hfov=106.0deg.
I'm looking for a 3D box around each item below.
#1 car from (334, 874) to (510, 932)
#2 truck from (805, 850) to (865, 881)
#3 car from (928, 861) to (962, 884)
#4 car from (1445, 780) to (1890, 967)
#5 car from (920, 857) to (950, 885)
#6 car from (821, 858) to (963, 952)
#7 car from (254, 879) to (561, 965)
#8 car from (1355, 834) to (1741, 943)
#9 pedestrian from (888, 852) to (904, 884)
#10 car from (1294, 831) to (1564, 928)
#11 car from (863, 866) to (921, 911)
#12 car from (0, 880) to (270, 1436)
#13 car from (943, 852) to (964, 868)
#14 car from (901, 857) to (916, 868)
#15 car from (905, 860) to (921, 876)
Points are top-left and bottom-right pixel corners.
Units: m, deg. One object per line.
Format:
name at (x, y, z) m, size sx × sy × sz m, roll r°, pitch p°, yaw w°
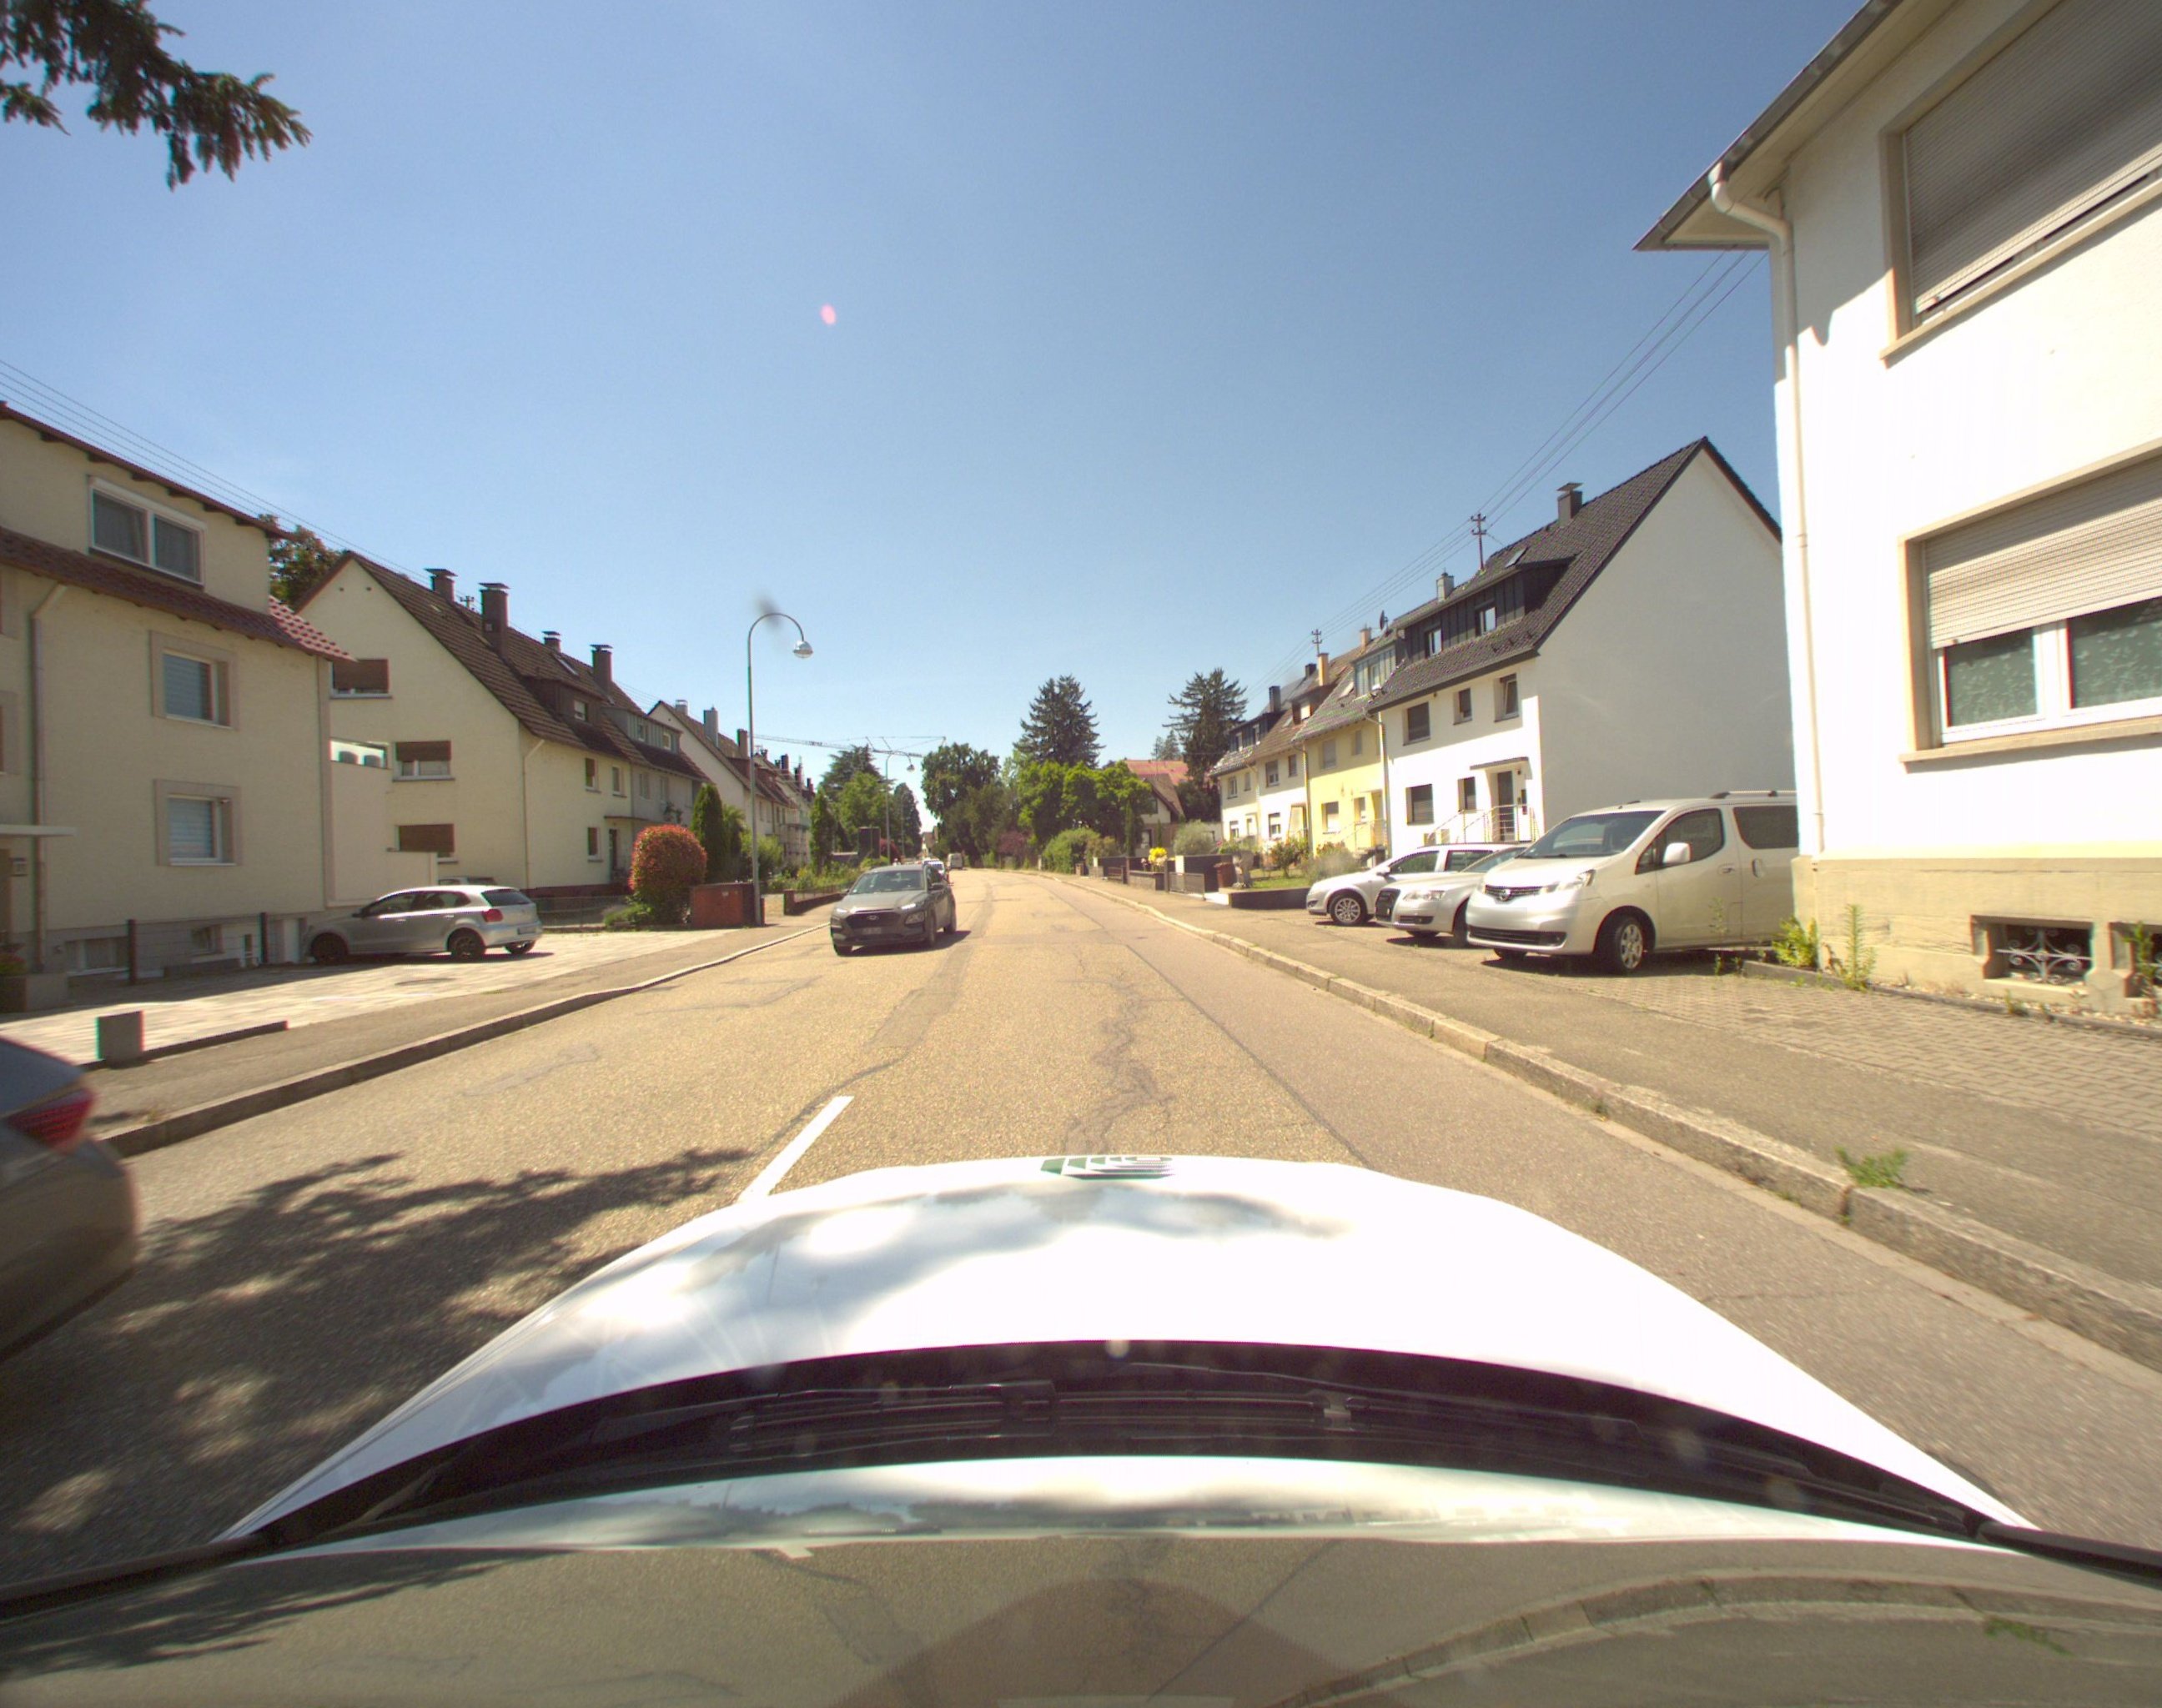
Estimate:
car at (-19.850, 1.450, 24.688) m, size 3.781 × 1.536 × 1.643 m, roll -1°, pitch 1°, yaw -8°
truck at (-17.327, 0.768, 57.400) m, size 3.768 × 1.937 × 1.541 m, roll -3°, pitch 0°, yaw -10°
car at (-10.208, 1.342, 61.246) m, size 1.755 × 1.477 × 4.058 m, roll -5°, pitch 0°, yaw 0°
car at (6.592, 0.215, 9.294) m, size 4.294 × 1.831 × 1.732 m, roll 1°, pitch 0°, yaw -13°
car at (-9.988, 1.120, 56.044) m, size 1.722 × 1.736 × 3.876 m, roll -5°, pitch 0°, yaw -8°
car at (-3.579, 0.893, 16.212) m, size 1.735 × 1.505 × 4.142 m, roll -4°, pitch 0°, yaw 0°
car at (-13.148, 1.295, 16.124) m, size 4.455 × 1.441 × 1.846 m, roll -2°, pitch -1°, yaw -1°
car at (6.537, 0.467, 11.712) m, size 4.629 × 1.409 × 1.767 m, roll 1°, pitch 0°, yaw -3°
pedestrian at (-11.475, 0.874, 50.443) m, size 0.687 × 1.890 × 1.018 m, roll 2°, pitch -1°, yaw -2°
car at (6.207, 0.440, 14.711) m, size 4.250 × 1.548 × 1.767 m, roll -1°, pitch -2°, yaw 28°
car at (-7.191, 1.266, 31.347) m, size 1.576 × 1.423 × 3.933 m, roll -5°, pitch 0°, yaw -6°
car at (-3.934, 0.902, 0.748) m, size 1.799 × 1.488 × 4.389 m, roll -4°, pitch 0°, yaw 2°
car at (-19.792, 0.905, 126.234) m, size 2.150 × 2.315 × 4.821 m, roll -4°, pitch 1°, yaw -19°
car at (-28.685, 1.389, 135.582) m, size 1.856 × 1.671 × 4.684 m, roll -5°, pitch 0°, yaw -17°
car at (-20.530, 1.687, 99.383) m, size 1.650 × 1.752 × 4.333 m, roll -4°, pitch 0°, yaw -14°
